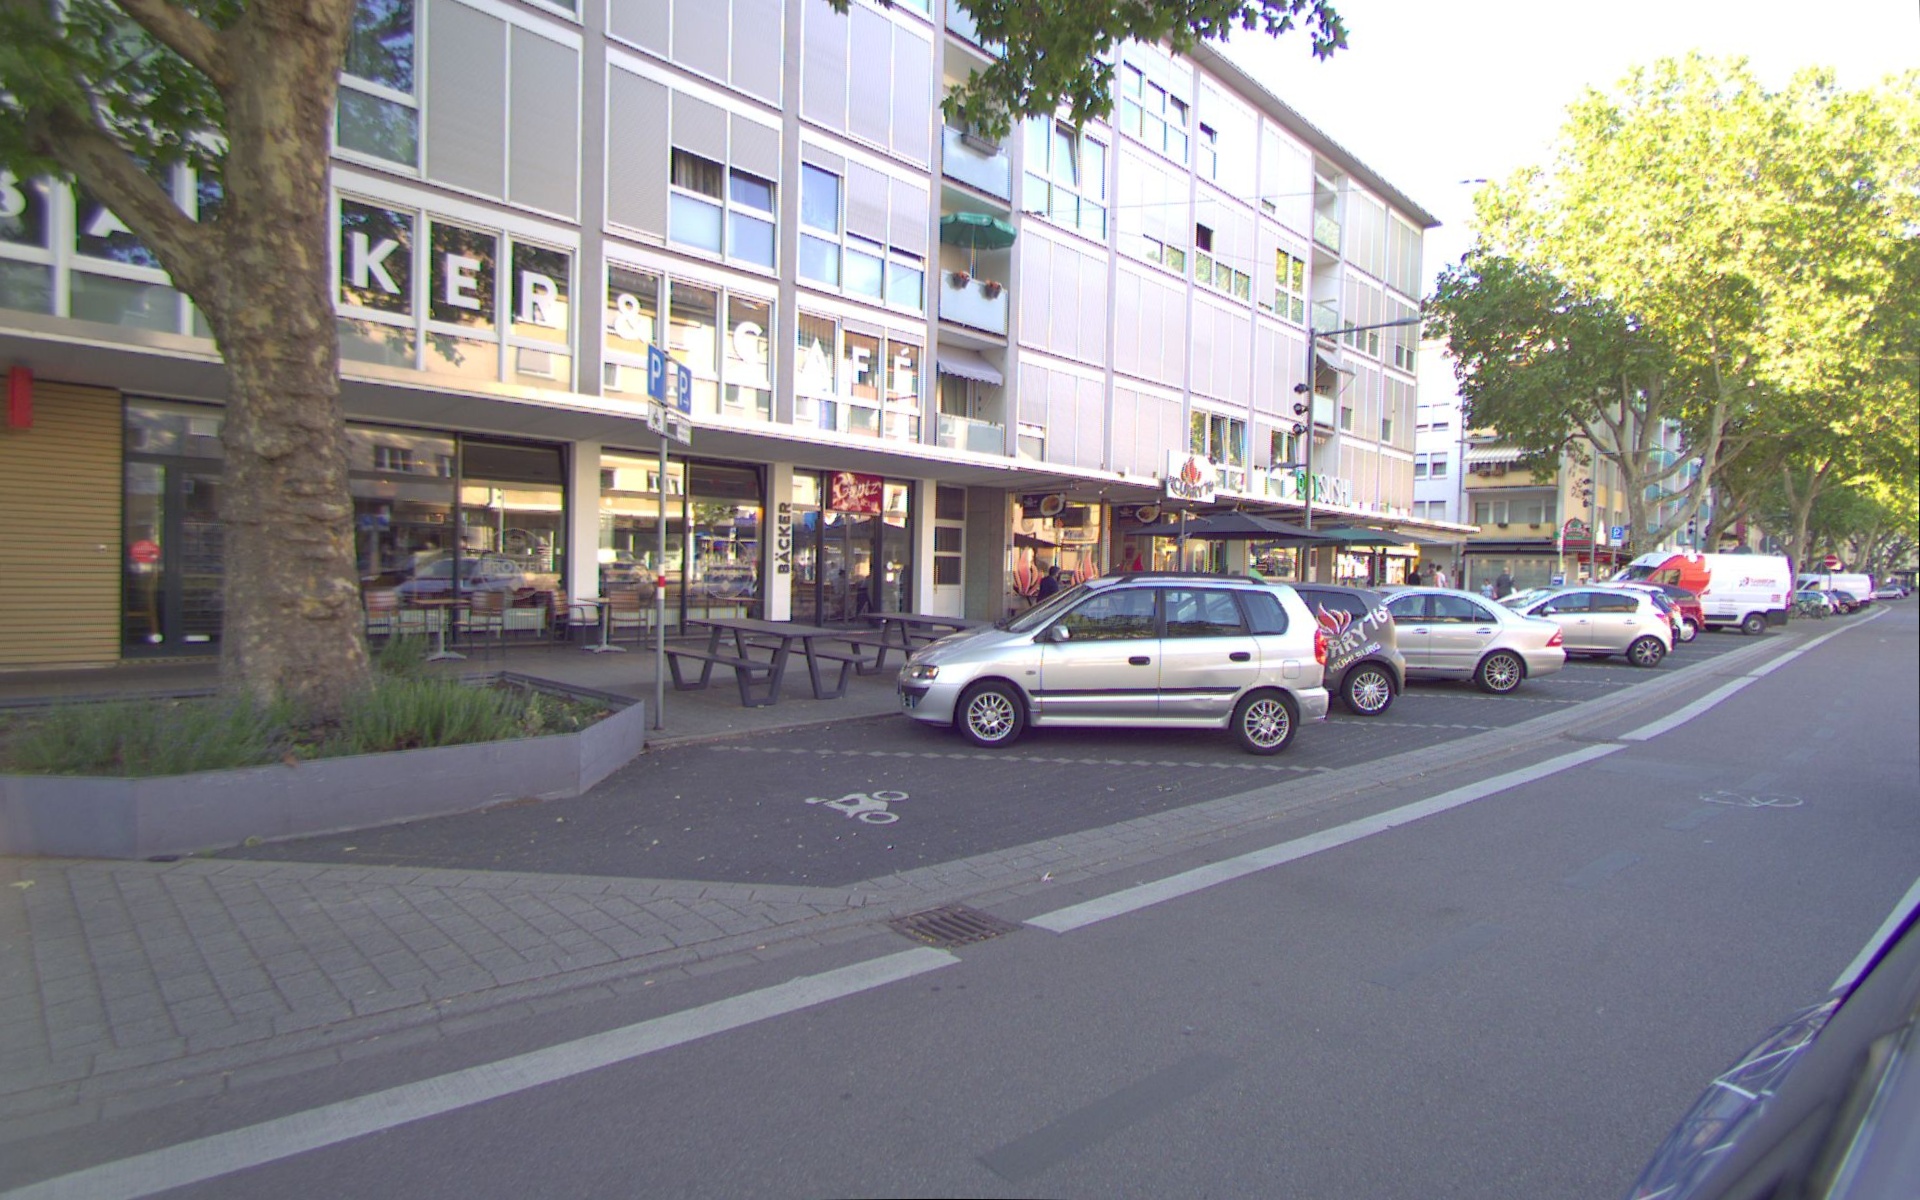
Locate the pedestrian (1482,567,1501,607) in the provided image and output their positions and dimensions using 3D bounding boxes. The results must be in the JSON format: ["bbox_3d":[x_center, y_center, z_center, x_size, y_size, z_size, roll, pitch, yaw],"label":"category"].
[{"bbox_3d":[22.013,-0.543,41.916,0.536,1.660,0.470,2,2,45],"label":"pedestrian"}]

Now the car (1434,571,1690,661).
[{"bbox_3d":[11.556,0.264,19.625,3.871,1.446,1.559,3,3,4],"label":"car"}]

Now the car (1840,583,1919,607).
[{"bbox_3d":[56.012,-0.311,61.181,3.864,1.350,1.782,1,2,3],"label":"car"}]

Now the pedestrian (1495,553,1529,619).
[{"bbox_3d":[17.316,-0.445,31.749,0.746,2.038,0.550,3,2,45],"label":"pedestrian"}]

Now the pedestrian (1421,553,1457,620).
[{"bbox_3d":[14.769,-0.423,31.221,0.746,2.038,0.752,3,2,45],"label":"pedestrian"}]

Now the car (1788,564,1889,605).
[{"bbox_3d":[56.390,-1.012,65.006,4.512,2.499,1.977,1,2,3],"label":"car"}]

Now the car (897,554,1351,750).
[{"bbox_3d":[1.386,0.425,9.615,3.906,1.560,1.679,2,3,-3],"label":"car"}]

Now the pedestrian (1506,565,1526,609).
[{"bbox_3d":[22.701,-0.536,41.325,0.544,1.741,0.450,2,2,45],"label":"pedestrian"}]

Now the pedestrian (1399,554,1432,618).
[{"bbox_3d":[14.429,-0.452,32.060,0.746,2.000,0.566,3,2,45],"label":"pedestrian"}]

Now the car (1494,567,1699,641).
[{"bbox_3d":[15.690,0.053,25.169,3.888,1.445,1.669,4,5,17],"label":"car"}]

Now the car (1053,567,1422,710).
[{"bbox_3d":[3.189,0.410,12.155,3.864,1.446,1.679,2,3,-3],"label":"car"}]

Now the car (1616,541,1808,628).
[{"bbox_3d":[23.592,-0.505,31.881,4.514,2.525,1.675,2,1,5],"label":"car"}]

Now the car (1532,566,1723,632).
[{"bbox_3d":[17.928,-0.068,27.373,3.888,1.445,1.669,4,5,17],"label":"car"}]

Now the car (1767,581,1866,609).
[{"bbox_3d":[47.739,-0.301,56.456,3.864,1.422,1.782,1,2,3],"label":"car"}]

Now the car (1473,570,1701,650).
[{"bbox_3d":[13.770,0.174,22.477,3.886,1.446,1.670,4,3,16],"label":"car"}]

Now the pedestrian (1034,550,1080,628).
[{"bbox_3d":[2.029,-0.240,21.199,0.757,1.602,0.583,0,2,-39],"label":"pedestrian"}]

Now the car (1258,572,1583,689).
[{"bbox_3d":[6.522,0.398,14.633,3.867,1.418,1.598,2,3,0],"label":"car"}]
